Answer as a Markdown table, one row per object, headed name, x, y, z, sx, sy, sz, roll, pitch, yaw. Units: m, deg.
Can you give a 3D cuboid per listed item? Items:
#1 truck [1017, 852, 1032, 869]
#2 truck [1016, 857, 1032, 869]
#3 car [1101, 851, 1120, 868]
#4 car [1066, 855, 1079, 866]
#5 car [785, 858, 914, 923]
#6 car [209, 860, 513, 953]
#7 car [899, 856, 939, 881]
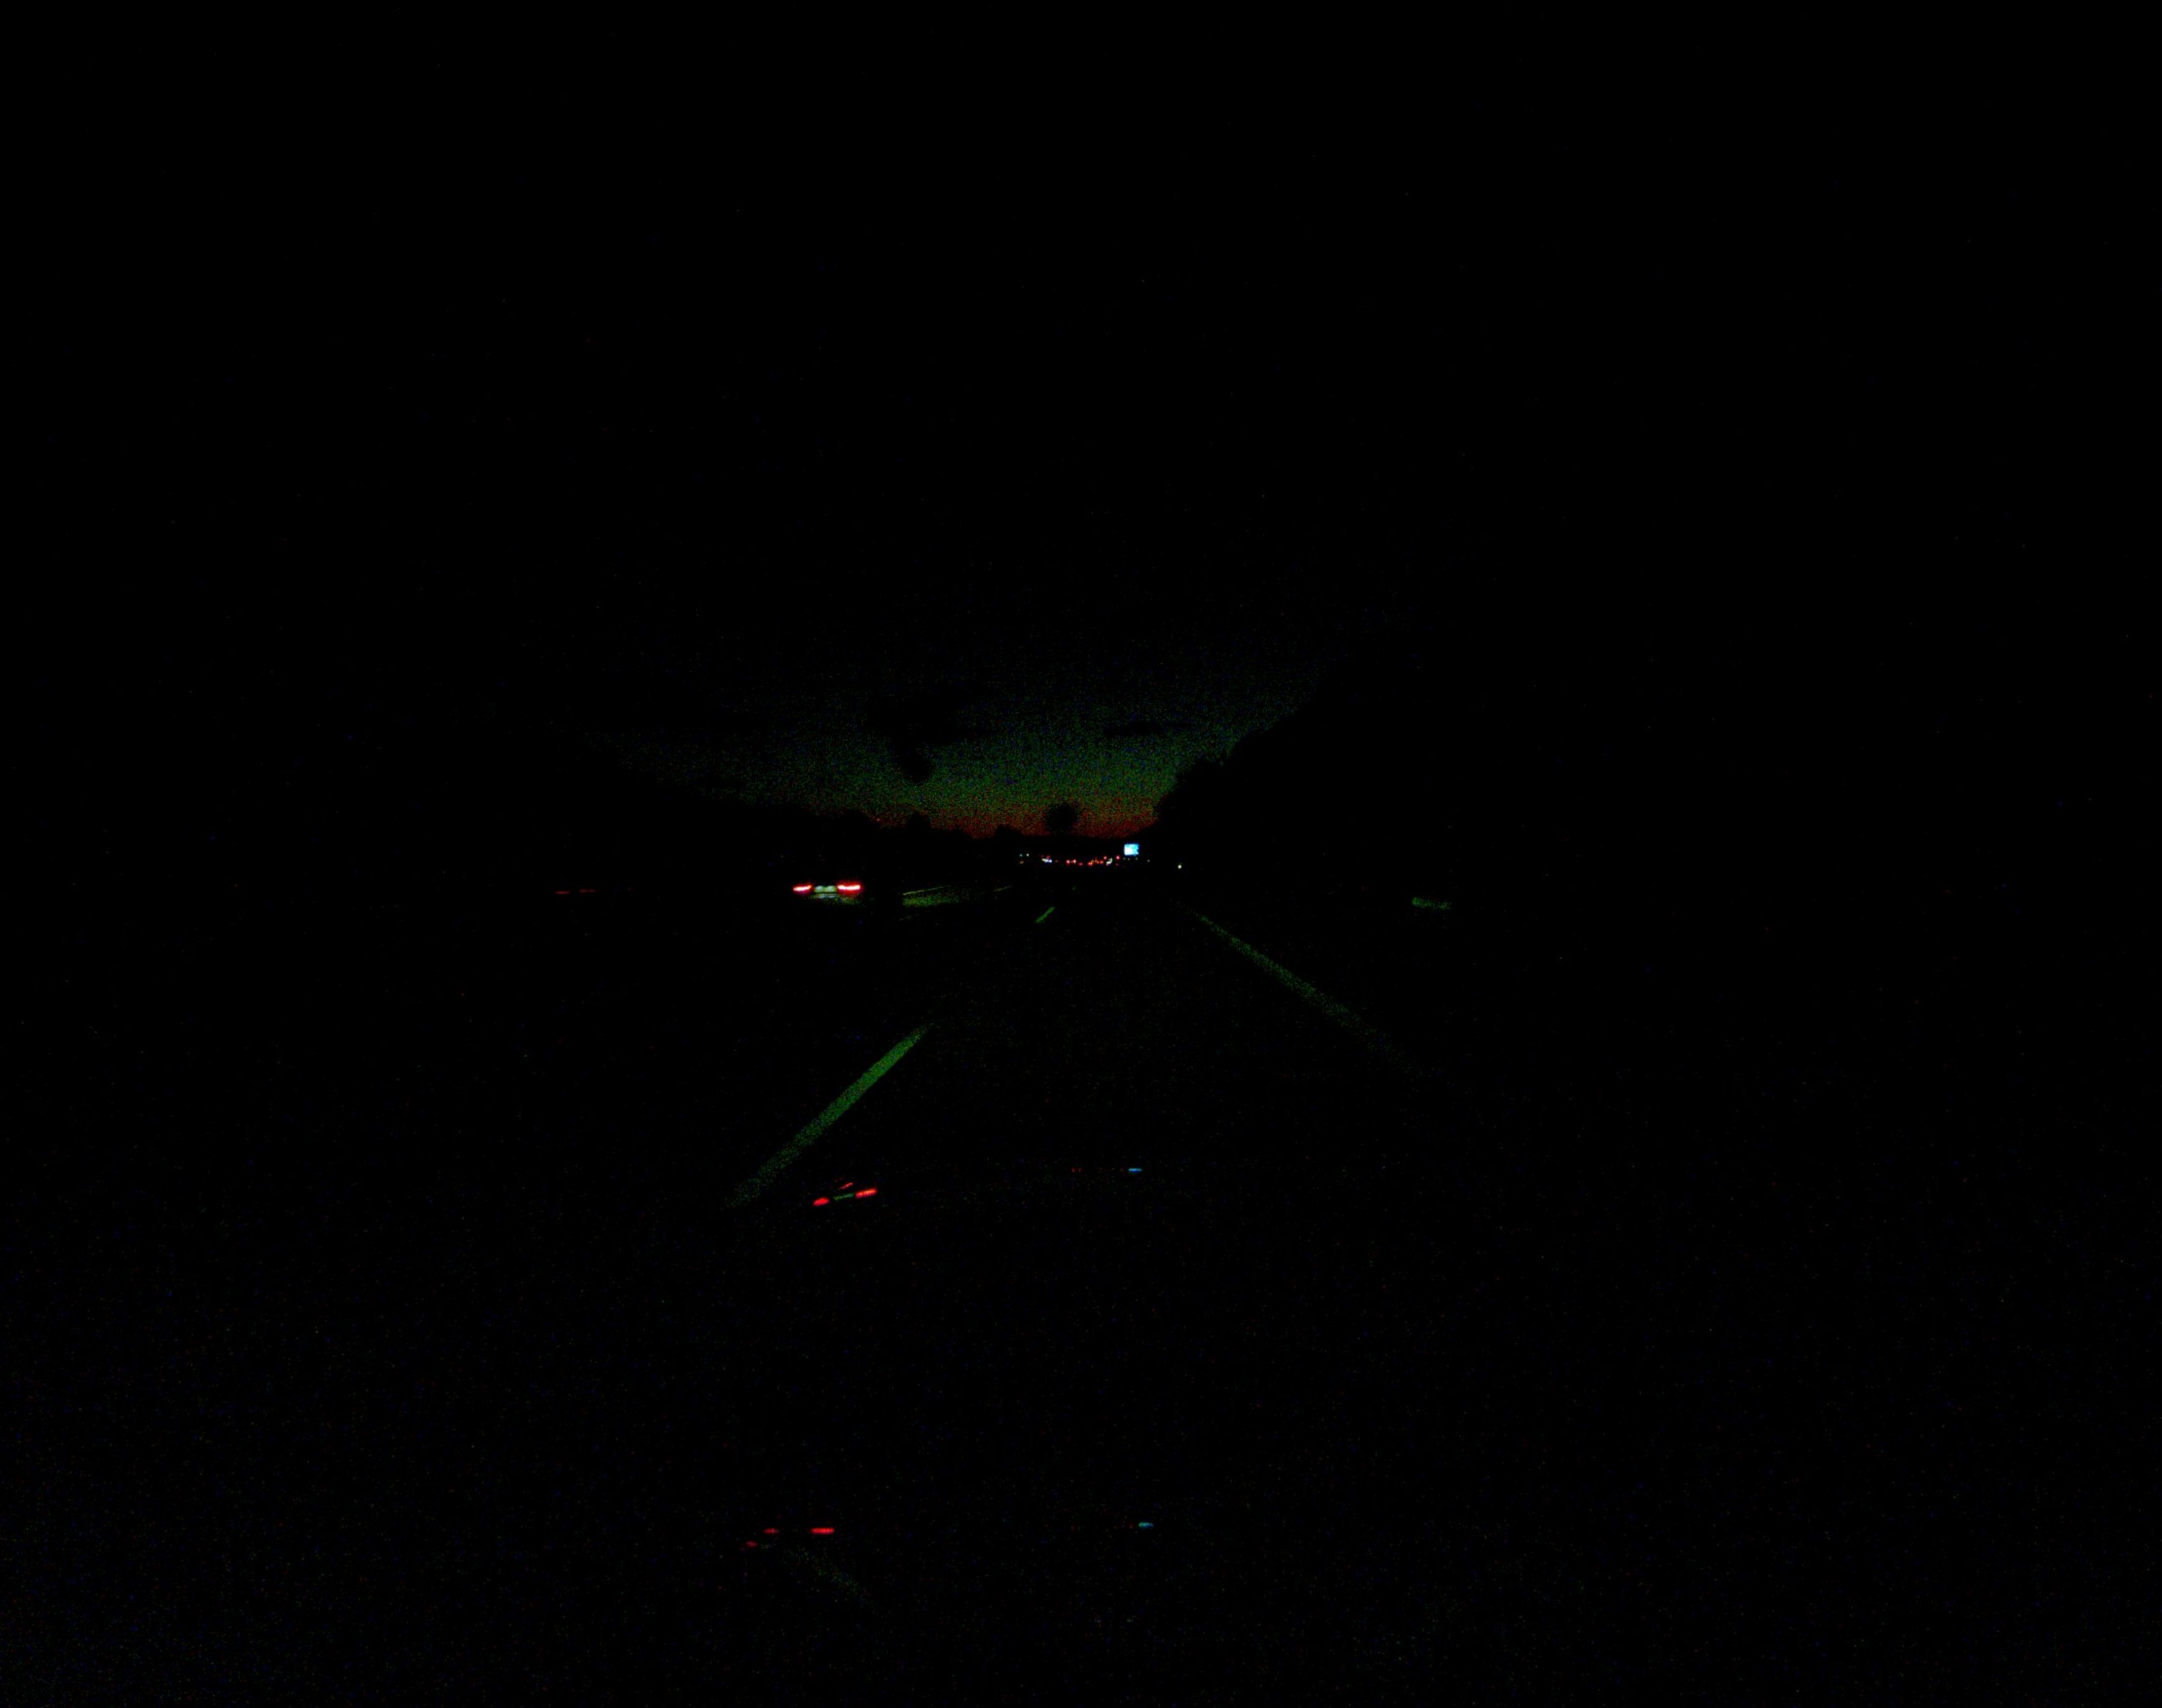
| name | x | y | z | sx | sy | sz | roll | pitch | yaw |
| --- | --- | --- | --- | --- | --- | --- | --- | --- | --- |
| truck | -15.540 | 1.734 | 225.930 | 3.313 | 4.433 | 6.710 | -3 | 0 | 2 |
| truck | -13.592 | 2.076 | 195.290 | 2.862 | 2.641 | 7.889 | -2 | 0 | 2 |
| car | 3.785 | 0.735 | 104.525 | 2.188 | 1.955 | 4.766 | -4 | 0 | 2 |
| car | -1.646 | 1.263 | 160.637 | 2.188 | 1.955 | 4.635 | -1 | 0 | 2 |
| car | -6.019 | 0.884 | 21.885 | 1.773 | 1.487 | 5.256 | -1 | 0 | 2 |
| car | -15.069 | 0.988 | 17.545 | 2.188 | 1.682 | 4.765 | -1 | 0 | 2 |
| car | -13.302 | 1.154 | 67.244 | 2.188 | 1.955 | 4.765 | -1 | 0 | 2 |
